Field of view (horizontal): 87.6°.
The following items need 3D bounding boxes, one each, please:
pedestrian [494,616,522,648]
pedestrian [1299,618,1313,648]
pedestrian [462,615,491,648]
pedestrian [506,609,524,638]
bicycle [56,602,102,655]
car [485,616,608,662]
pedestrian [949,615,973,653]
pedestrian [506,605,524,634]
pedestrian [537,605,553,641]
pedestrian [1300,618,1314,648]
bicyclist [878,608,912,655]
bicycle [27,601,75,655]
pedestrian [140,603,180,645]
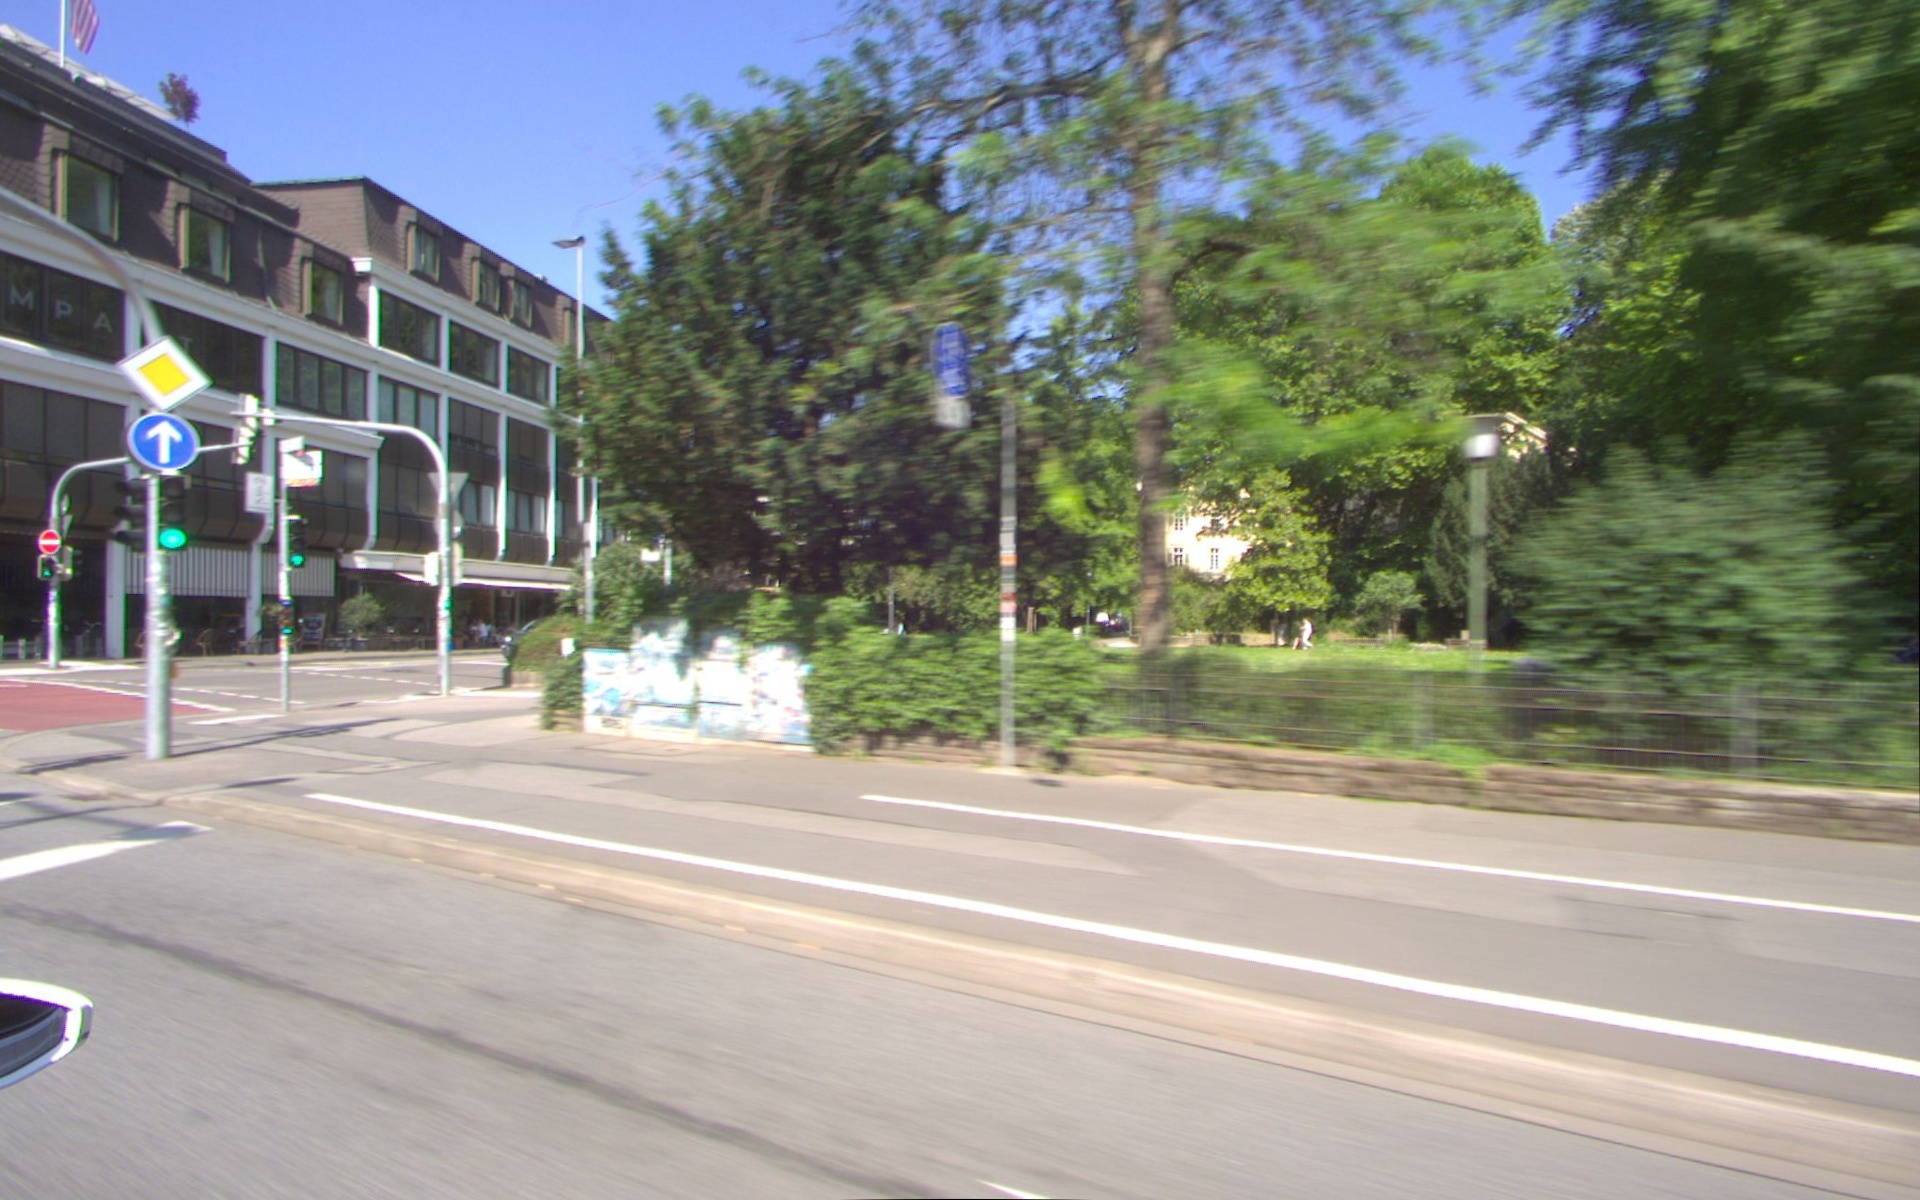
[{"bbox_3d":[-20.715,1.458,45.934,0.743,1.411,0.928,1,0,10],"label":"pedestrian"},{"bbox_3d":[19.998,1.921,57.871,0.677,1.705,0.661,0,-1,21],"label":"pedestrian"},{"bbox_3d":[-21.192,1.375,43.921,0.743,1.411,0.928,1,0,10],"label":"pedestrian"},{"bbox_3d":[-21.429,1.133,48.224,0.562,1.411,0.569,1,0,10],"label":"pedestrian"},{"bbox_3d":[-25.247,0.790,28.721,0.523,1.441,1.957,1,0,-28],"label":"bicycle"},{"bbox_3d":[-13.586,1.247,33.174,1.824,1.381,4.095,2,0,11],"label":"car"},{"bbox_3d":[0.043,1.168,34.768,0.703,1.287,0.452,0,-1,22],"label":"pedestrian"},{"bbox_3d":[-21.414,0.943,48.207,0.562,1.411,0.569,1,0,10],"label":"pedestrian"},{"bbox_3d":[-20.893,1.144,50.410,0.575,1.780,0.486,1,0,10],"label":"pedestrian"},{"bbox_3d":[19.761,1.860,57.012,0.677,1.705,0.661,0,-1,21],"label":"pedestrian"},{"bbox_3d":[-2.232,1.068,34.444,0.853,1.595,0.941,-1,0,24],"label":"bicyclist"},{"bbox_3d":[-25.721,0.779,28.361,0.523,1.441,1.957,1,0,-28],"label":"bicycle"},{"bbox_3d":[-26.393,0.800,33.046,0.816,1.352,0.968,1,0,-26],"label":"pedestrian"}]
